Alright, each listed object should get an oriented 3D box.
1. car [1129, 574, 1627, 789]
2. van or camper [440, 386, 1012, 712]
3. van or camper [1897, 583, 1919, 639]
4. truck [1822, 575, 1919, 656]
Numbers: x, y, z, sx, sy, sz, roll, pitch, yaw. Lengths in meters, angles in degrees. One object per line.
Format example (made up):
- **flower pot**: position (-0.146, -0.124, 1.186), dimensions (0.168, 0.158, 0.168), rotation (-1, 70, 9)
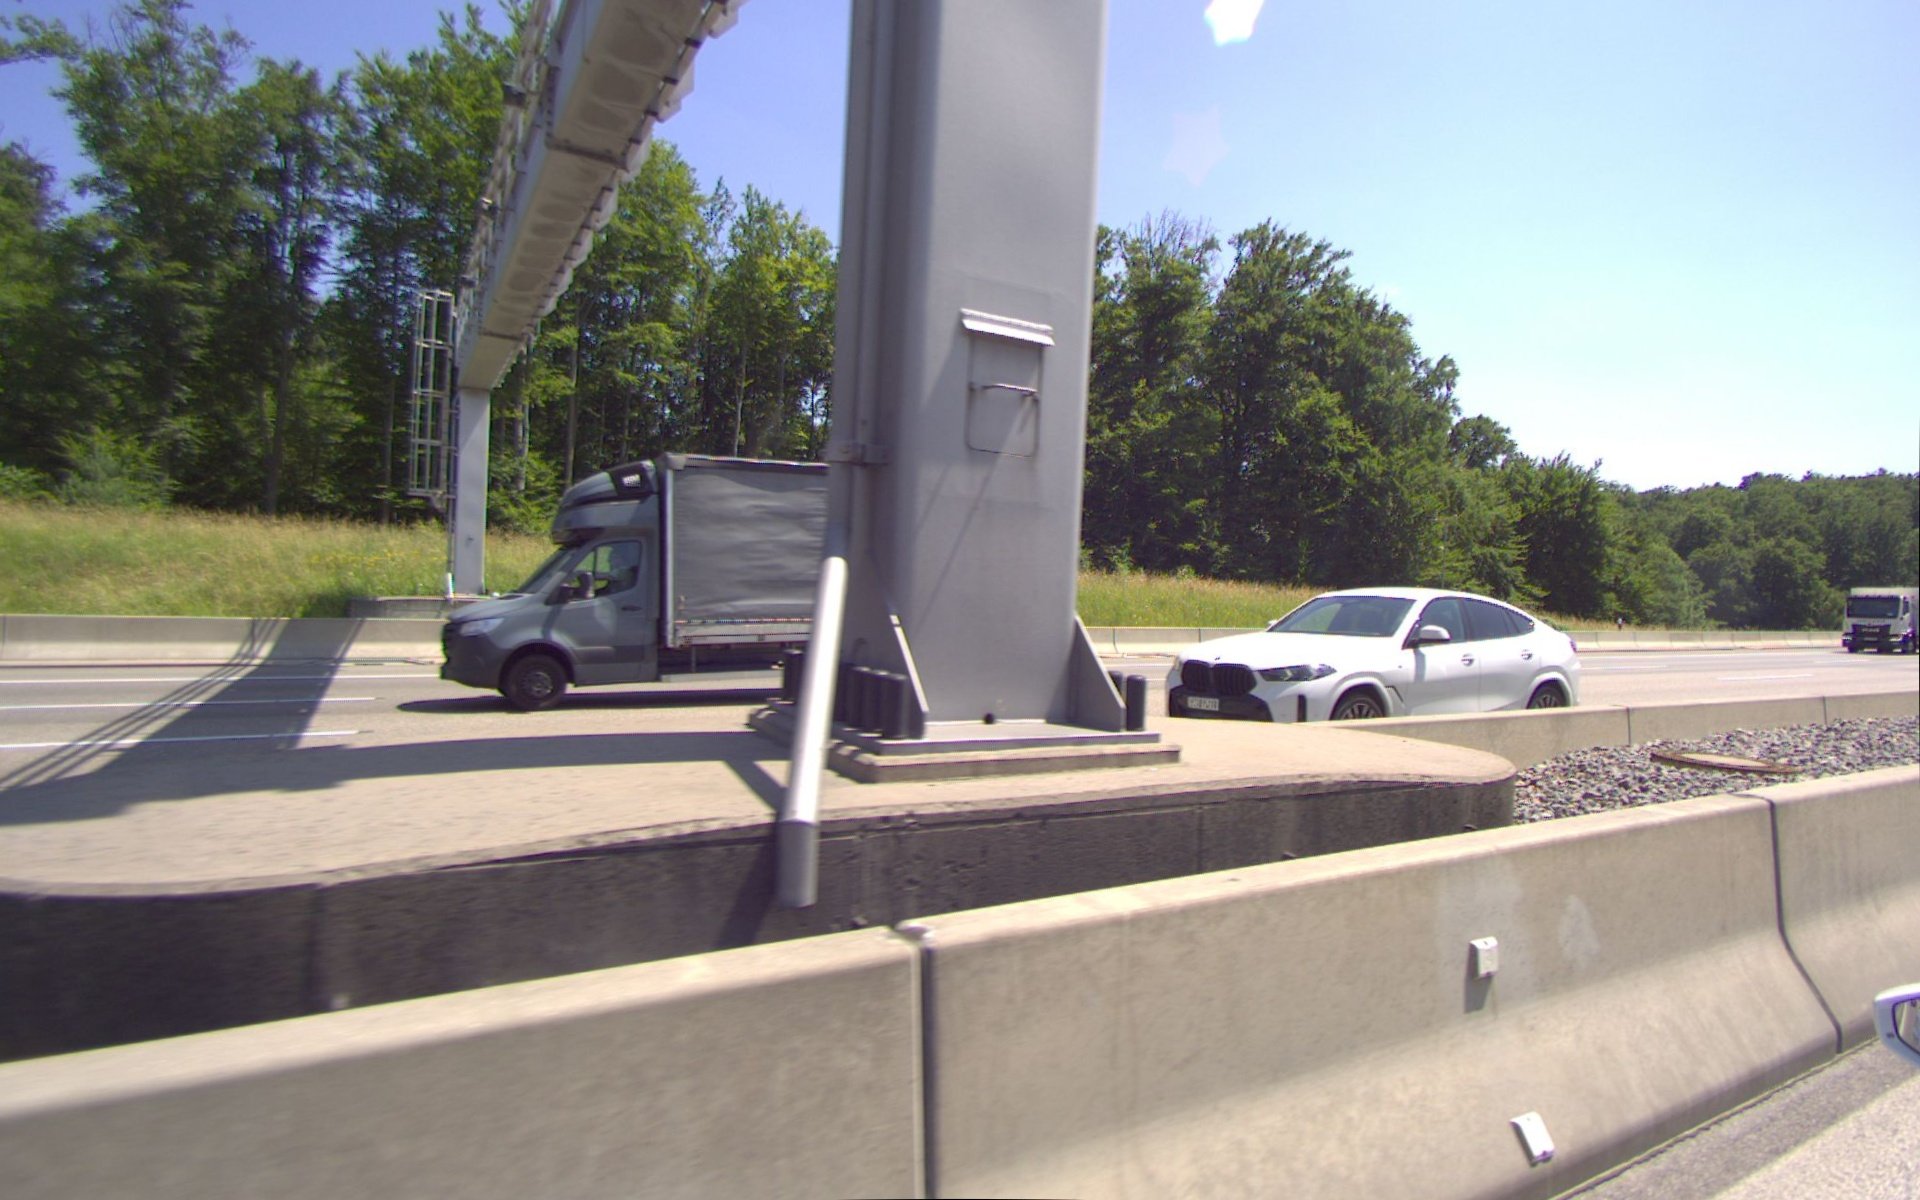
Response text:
- **car**: position (4.461, 0.719, 10.433), dimensions (5.283, 1.760, 1.978), rotation (2, 1, -31)
- **van or camper**: position (-3.106, -0.493, 14.560), dimensions (7.671, 3.727, 2.417), rotation (2, 0, -32)
- **van or camper**: position (58.302, 0.820, 58.961), dimensions (8.005, 3.166, 2.749), rotation (3, 0, -32)
- **truck**: position (47.343, 0.877, 50.842), dimensions (9.137, 3.746, 2.854), rotation (3, 0, -31)
